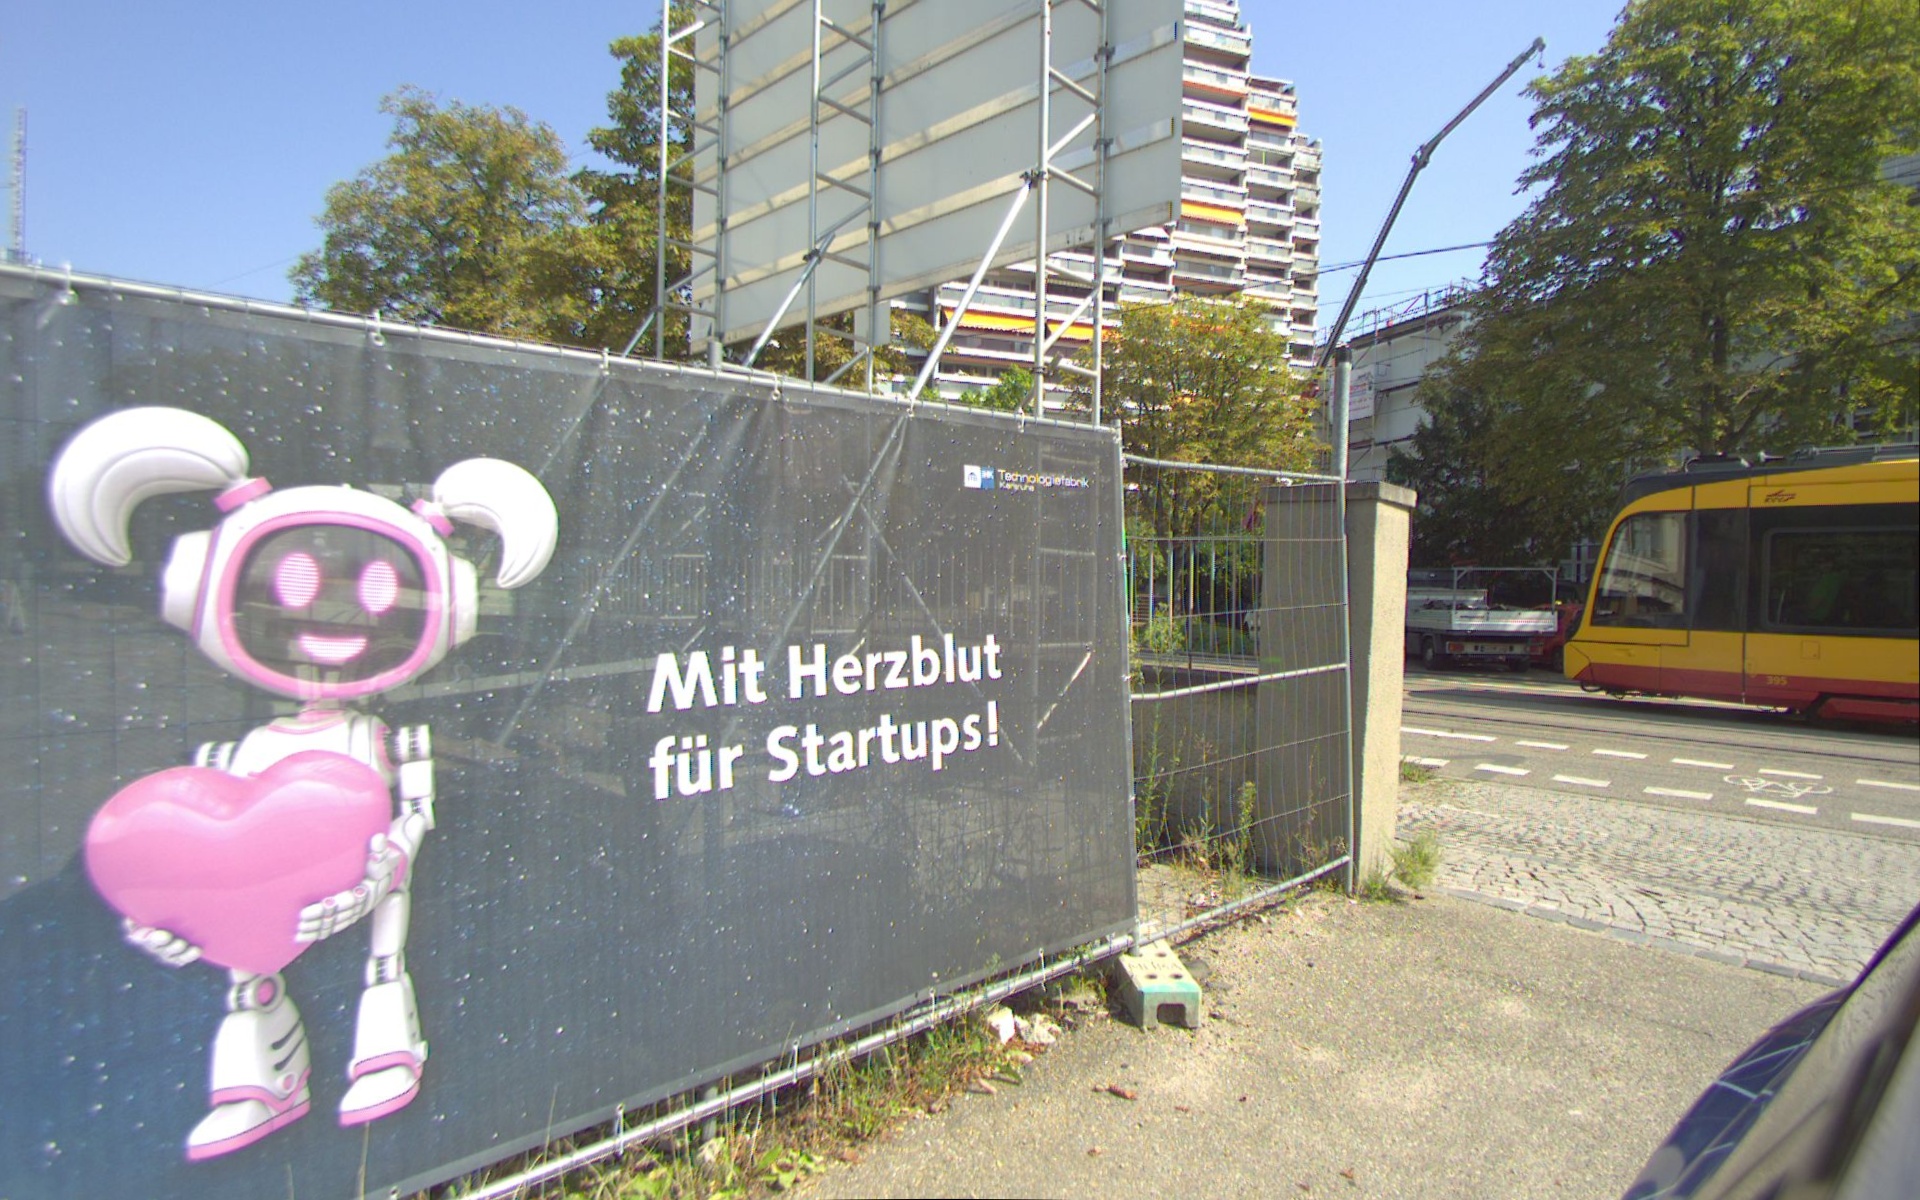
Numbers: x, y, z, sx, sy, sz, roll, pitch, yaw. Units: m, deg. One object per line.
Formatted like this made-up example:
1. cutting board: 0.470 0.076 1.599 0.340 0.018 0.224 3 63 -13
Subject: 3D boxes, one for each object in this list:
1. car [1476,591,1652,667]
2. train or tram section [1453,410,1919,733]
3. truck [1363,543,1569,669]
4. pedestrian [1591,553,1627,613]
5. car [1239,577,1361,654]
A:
1. car: 13.593 0.586 23.068 1.688 1.527 3.859 1 1 1
2. train or tram section: 13.069 -0.319 12.220 3.451 3.750 12.379 0 1 -44
3. truck: 11.280 0.089 23.177 2.113 2.465 5.961 1 1 5
4. pedestrian: 20.138 -0.527 31.410 0.731 1.810 0.824 1 0 21
5. car: 8.765 0.345 26.490 1.791 1.794 4.284 1 1 1
